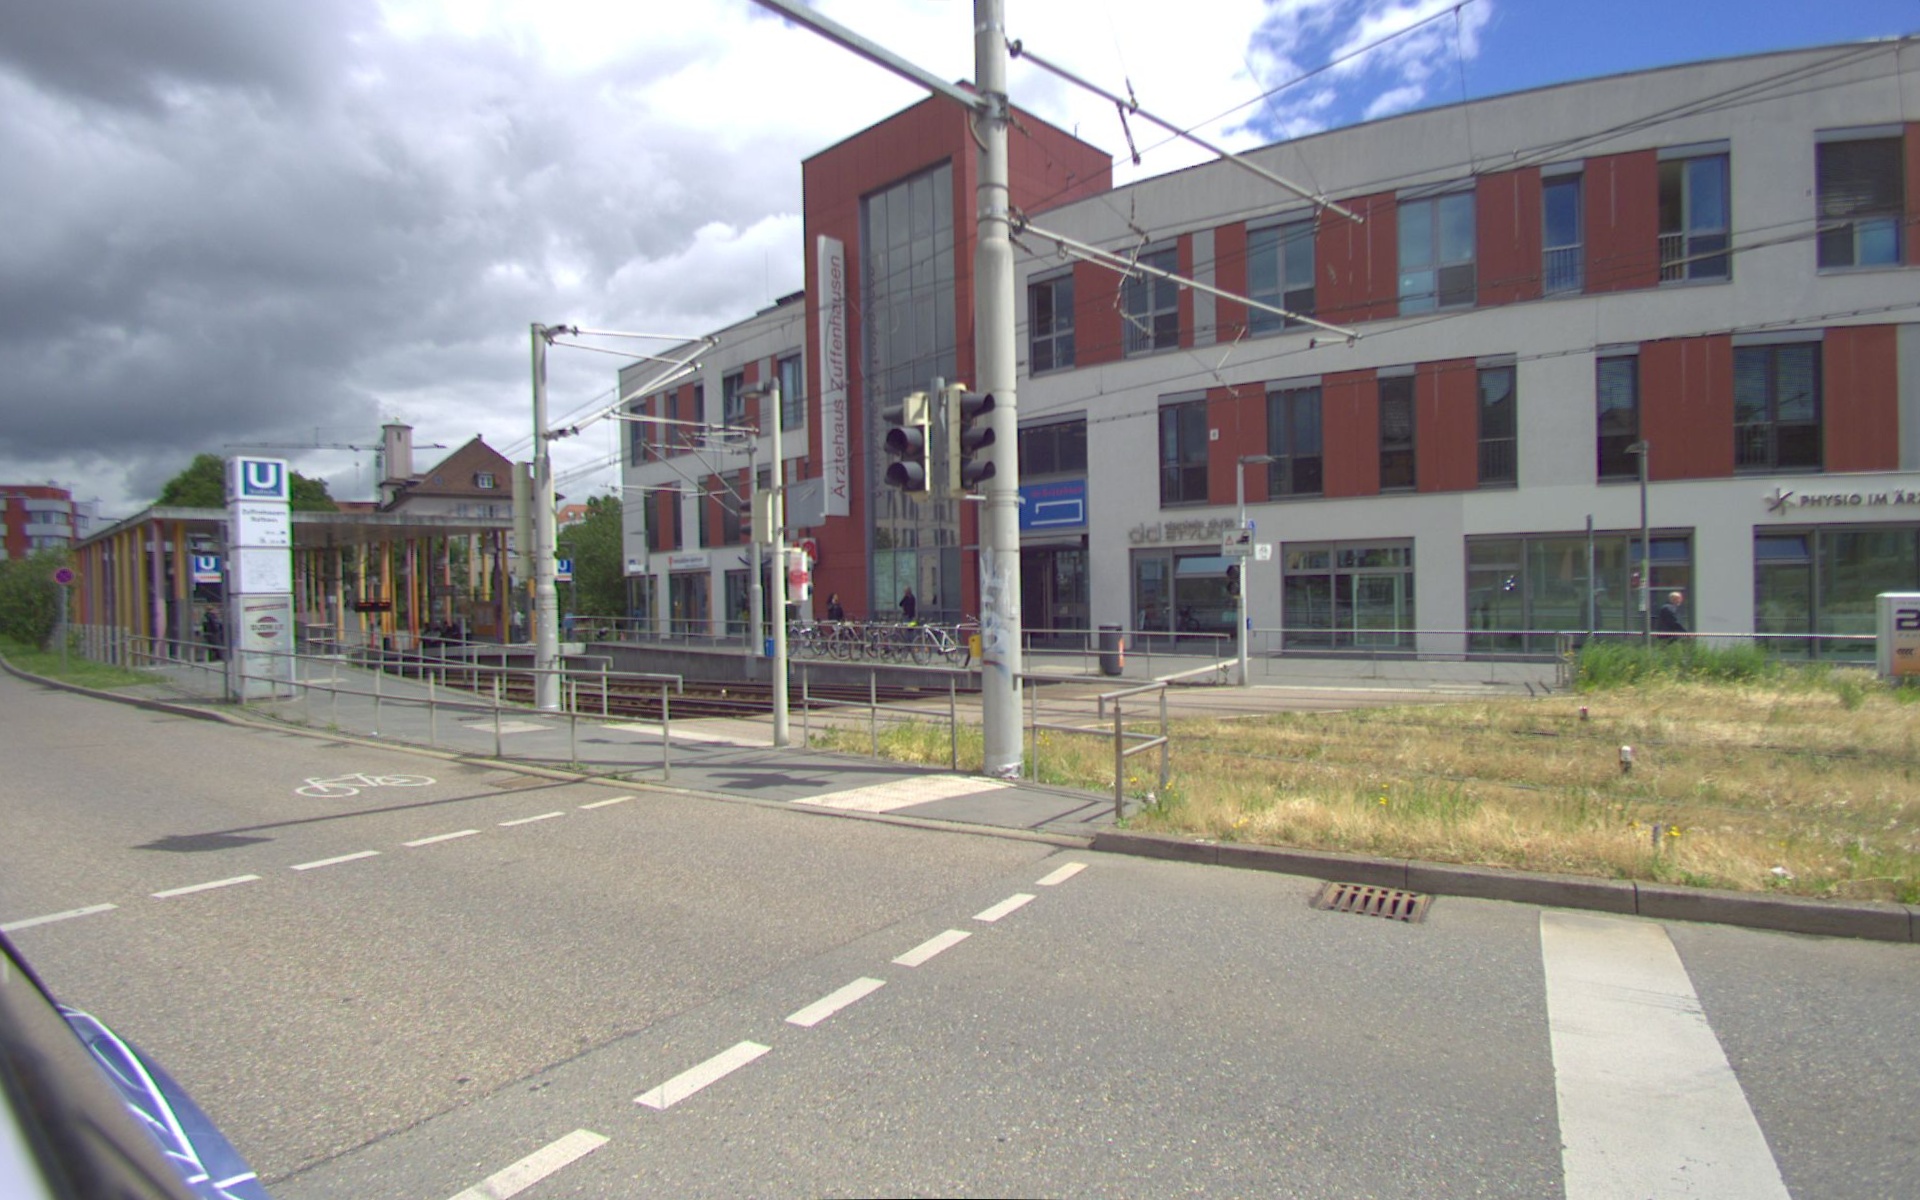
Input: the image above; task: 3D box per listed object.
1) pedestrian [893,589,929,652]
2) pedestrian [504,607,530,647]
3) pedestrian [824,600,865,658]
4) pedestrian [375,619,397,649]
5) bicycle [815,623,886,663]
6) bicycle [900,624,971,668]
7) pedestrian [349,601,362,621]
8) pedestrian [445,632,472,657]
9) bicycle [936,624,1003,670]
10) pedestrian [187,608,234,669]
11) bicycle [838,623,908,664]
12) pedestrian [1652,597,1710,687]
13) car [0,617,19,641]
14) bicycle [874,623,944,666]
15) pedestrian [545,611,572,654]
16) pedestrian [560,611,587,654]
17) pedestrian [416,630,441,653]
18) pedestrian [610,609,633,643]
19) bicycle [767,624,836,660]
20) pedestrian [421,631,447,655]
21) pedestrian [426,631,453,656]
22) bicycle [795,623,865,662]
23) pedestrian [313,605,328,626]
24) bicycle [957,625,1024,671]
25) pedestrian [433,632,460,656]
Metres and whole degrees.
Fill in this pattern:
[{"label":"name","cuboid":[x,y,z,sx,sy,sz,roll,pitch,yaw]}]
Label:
[{"label":"pedestrian","cuboid":[-1.472,0.591,30.597,0.857,1.859,0.875,0,1,16]},{"label":"pedestrian","cuboid":[-22.369,1.343,51.108,0.852,1.983,1.107,1,-1,-44]},{"label":"pedestrian","cuboid":[-3.454,0.849,30.224,0.934,1.711,0.779,0,-1,37]},{"label":"pedestrian","cuboid":[-39.565,2.322,69.784,1.111,2.029,1.180,0,-2,-41]},{"label":"bicycle","cuboid":[-2.783,1.081,25.767,1.834,0.929,0.455,-1,0,-38]},{"label":"bicycle","cuboid":[-0.569,1.064,23.764,1.836,0.942,0.455,-1,0,-44]},{"label":"pedestrian","cuboid":[-62.350,1.104,104.400,1.107,2.029,1.665,0,-1,-31]},{"label":"pedestrian","cuboid":[-23.842,2.104,48.118,0.930,1.143,0.886,0,-2,-44]},{"label":"bicycle","cuboid":[0.229,1.062,23.094,1.715,0.965,0.428,-1,0,-44]},{"label":"pedestrian","cuboid":[-24.359,1.237,32.881,1.089,1.929,0.865,1,-1,-45]},{"label":"bicycle","cuboid":[-2.142,1.067,25.133,1.835,0.946,0.455,-1,0,-42]},{"label":"pedestrian","cuboid":[13.100,0.756,18.396,0.687,1.592,0.729,-1,-1,24]},{"label":"car","cuboid":[-85.958,2.586,90.848,1.968,2.092,4.007,1,-1,-40]},{"label":"bicycle","cuboid":[-1.218,1.054,24.435,1.836,0.970,0.455,-1,0,-44]},{"label":"pedestrian","cuboid":[-18.922,1.508,47.698,0.851,1.983,1.108,1,-1,-41]},{"label":"pedestrian","cuboid":[-18.400,1.530,48.155,0.851,1.983,1.108,1,-1,-41]},{"label":"pedestrian","cuboid":[-26.721,2.072,50.873,0.930,1.143,0.886,0,-2,-44]},{"label":"pedestrian","cuboid":[-19.966,1.545,59.674,1.087,1.983,0.867,1,-1,-30]},{"label":"bicycle","cuboid":[-4.223,1.124,27.092,1.833,0.888,0.455,-1,0,-38]},{"label":"pedestrian","cuboid":[-26.001,2.114,50.063,0.930,1.143,0.886,0,-2,-44]},{"label":"pedestrian","cuboid":[-25.349,2.109,49.310,0.930,1.143,0.886,0,-2,-44]},{"label":"bicycle","cuboid":[-3.366,1.086,26.357,1.834,0.939,0.455,-1,0,-38]},{"label":"pedestrian","cuboid":[-60.568,1.480,95.864,1.111,2.029,0.816,0,-2,-41]},{"label":"bicycle","cuboid":[0.696,1.062,22.666,1.715,0.959,0.428,-1,0,-44]},{"label":"pedestrian","cuboid":[-24.665,2.105,48.637,0.930,1.143,0.886,0,-2,-44]}]
